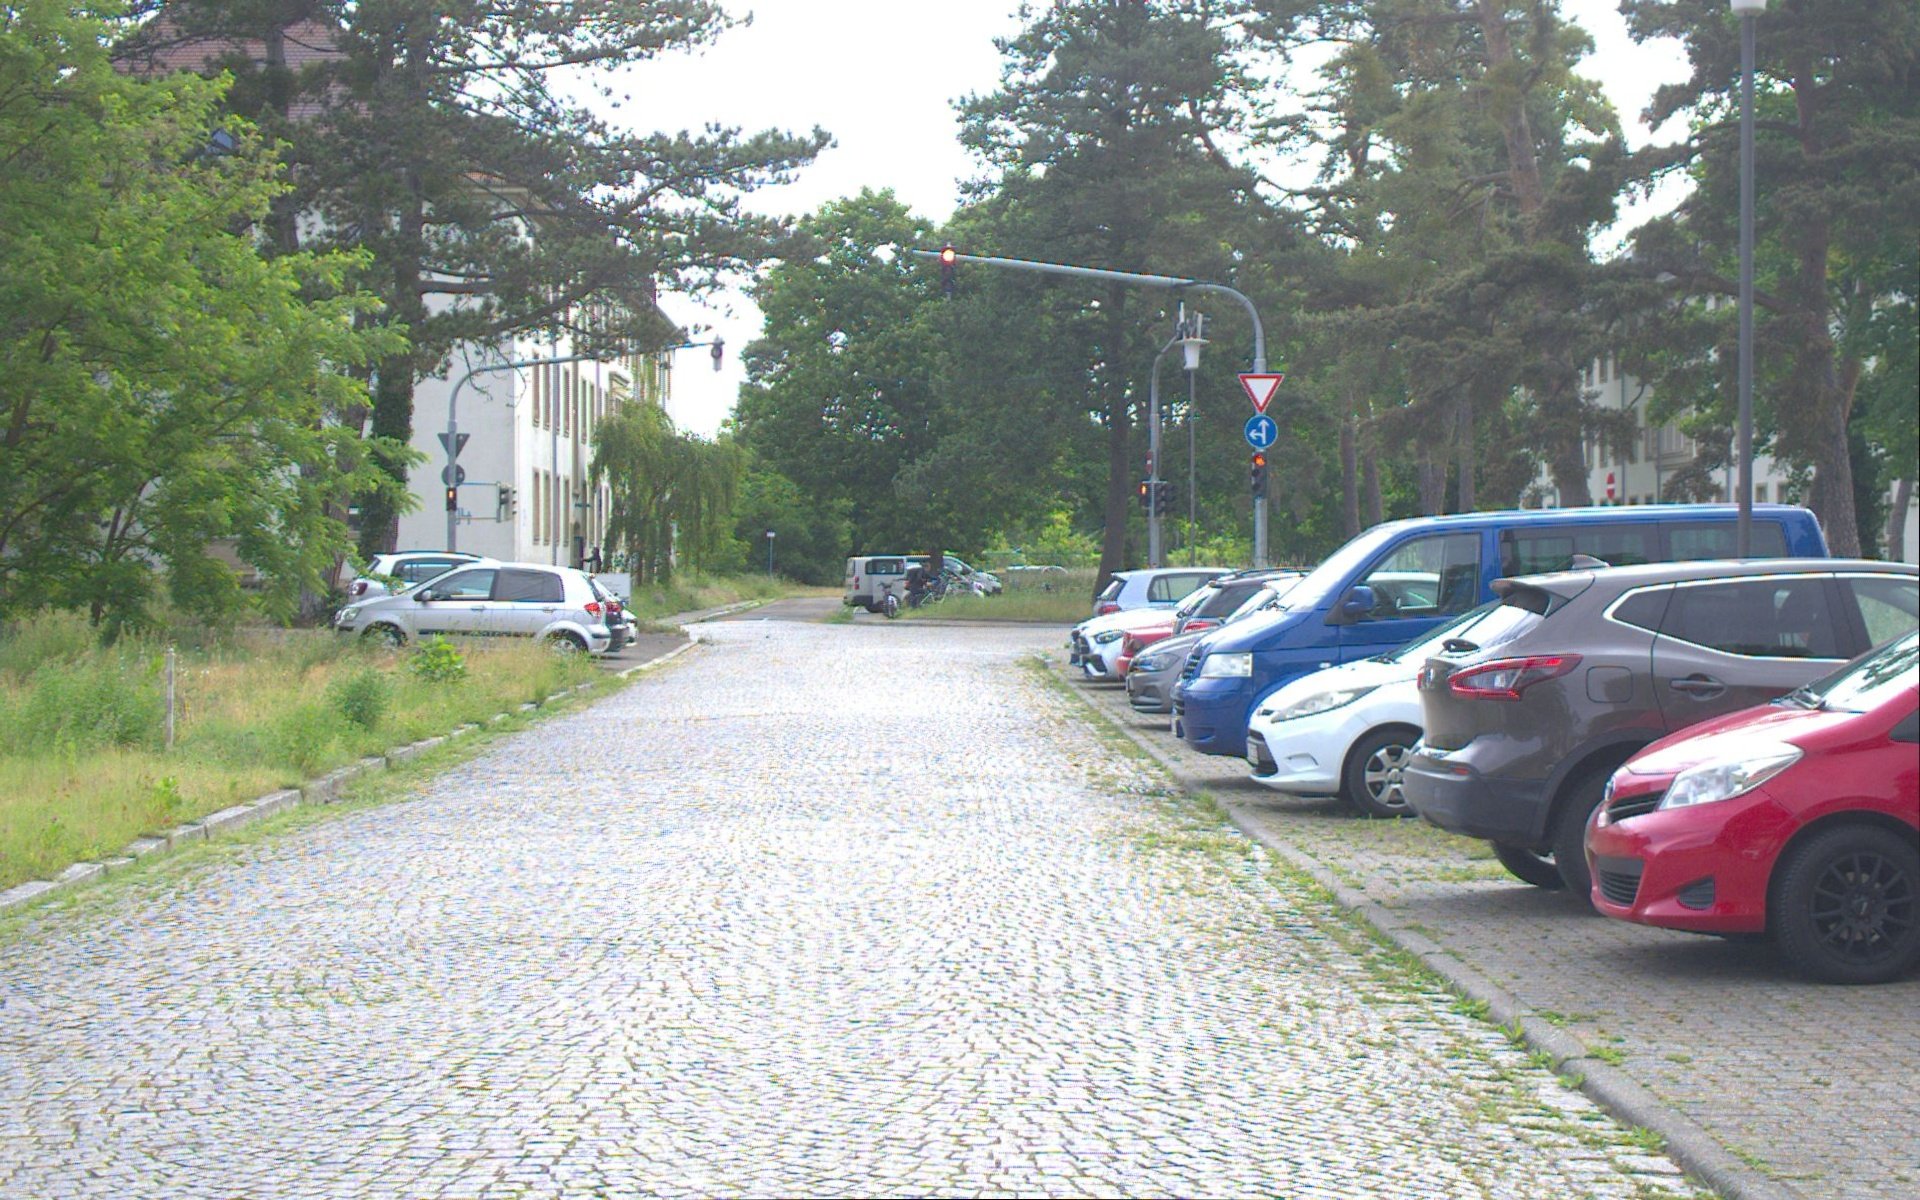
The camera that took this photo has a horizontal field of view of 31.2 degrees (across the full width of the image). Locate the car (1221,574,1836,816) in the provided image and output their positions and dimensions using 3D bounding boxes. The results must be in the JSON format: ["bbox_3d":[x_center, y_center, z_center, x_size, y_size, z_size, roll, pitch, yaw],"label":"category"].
[{"bbox_3d":[3.643,0.588,22.418,3.671,1.444,1.615,-1,0,-3],"label":"car"}]

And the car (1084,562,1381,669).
[{"bbox_3d":[3.838,0.206,48.809,3.967,1.416,1.620,-1,0,-5],"label":"car"}]

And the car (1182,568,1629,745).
[{"bbox_3d":[3.880,0.480,30.292,3.671,1.444,1.524,-1,0,-2],"label":"car"}]

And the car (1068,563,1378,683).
[{"bbox_3d":[3.283,0.275,43.297,3.671,1.416,1.524,-1,0,-5],"label":"car"}]

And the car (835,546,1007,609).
[{"bbox_3d":[-1.321,-0.765,115.599,5.444,2.007,2.269,1,0,-10],"label":"car"}]

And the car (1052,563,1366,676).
[{"bbox_3d":[3.316,0.250,46.153,3.967,1.416,1.620,-1,0,-5],"label":"car"}]

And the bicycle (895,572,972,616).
[{"bbox_3d":[-0.762,-0.163,97.697,2.136,1.210,0.622,1,0,-5],"label":"bicycle"}]

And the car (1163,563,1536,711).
[{"bbox_3d":[4.050,0.371,36.061,3.671,1.444,1.524,-1,0,-2],"label":"car"}]

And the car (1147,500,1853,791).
[{"bbox_3d":[3.841,0.309,25.011,4.754,1.948,1.931,-1,0,-3],"label":"car"}]

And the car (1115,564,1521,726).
[{"bbox_3d":[3.405,0.416,33.066,3.671,1.444,1.524,-1,0,-2],"label":"car"}]

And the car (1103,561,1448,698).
[{"bbox_3d":[3.521,0.319,38.762,3.671,1.444,1.524,-1,0,-2],"label":"car"}]

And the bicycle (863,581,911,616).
[{"bbox_3d":[-1.994,-0.045,93.616,0.620,0.942,1.663,1,1,-29],"label":"bicycle"}]

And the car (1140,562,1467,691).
[{"bbox_3d":[4.068,0.302,41.052,3.671,1.444,1.524,-1,0,-2],"label":"car"}]

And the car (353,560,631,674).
[{"bbox_3d":[-6.781,0.235,50.053,3.821,1.567,1.564,-1,0,-1],"label":"car"}]

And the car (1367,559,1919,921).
[{"bbox_3d":[4.064,0.590,16.045,4.028,1.547,1.751,-1,0,-3],"label":"car"}]

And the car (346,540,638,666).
[{"bbox_3d":[-7.186,0.041,53.036,4.262,1.834,1.744,-1,0,-1],"label":"car"}]

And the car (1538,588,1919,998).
[{"bbox_3d":[4.315,0.678,13.397,3.792,1.455,1.751,-1,0,-1],"label":"car"}]

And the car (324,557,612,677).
[{"bbox_3d":[-6.779,0.222,47.636,3.821,1.567,1.564,-1,0,-4],"label":"car"}]

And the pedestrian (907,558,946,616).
[{"bbox_3d":[-0.966,-0.374,98.036,1.033,1.608,0.757,1,0,-5],"label":"pedestrian"}]
